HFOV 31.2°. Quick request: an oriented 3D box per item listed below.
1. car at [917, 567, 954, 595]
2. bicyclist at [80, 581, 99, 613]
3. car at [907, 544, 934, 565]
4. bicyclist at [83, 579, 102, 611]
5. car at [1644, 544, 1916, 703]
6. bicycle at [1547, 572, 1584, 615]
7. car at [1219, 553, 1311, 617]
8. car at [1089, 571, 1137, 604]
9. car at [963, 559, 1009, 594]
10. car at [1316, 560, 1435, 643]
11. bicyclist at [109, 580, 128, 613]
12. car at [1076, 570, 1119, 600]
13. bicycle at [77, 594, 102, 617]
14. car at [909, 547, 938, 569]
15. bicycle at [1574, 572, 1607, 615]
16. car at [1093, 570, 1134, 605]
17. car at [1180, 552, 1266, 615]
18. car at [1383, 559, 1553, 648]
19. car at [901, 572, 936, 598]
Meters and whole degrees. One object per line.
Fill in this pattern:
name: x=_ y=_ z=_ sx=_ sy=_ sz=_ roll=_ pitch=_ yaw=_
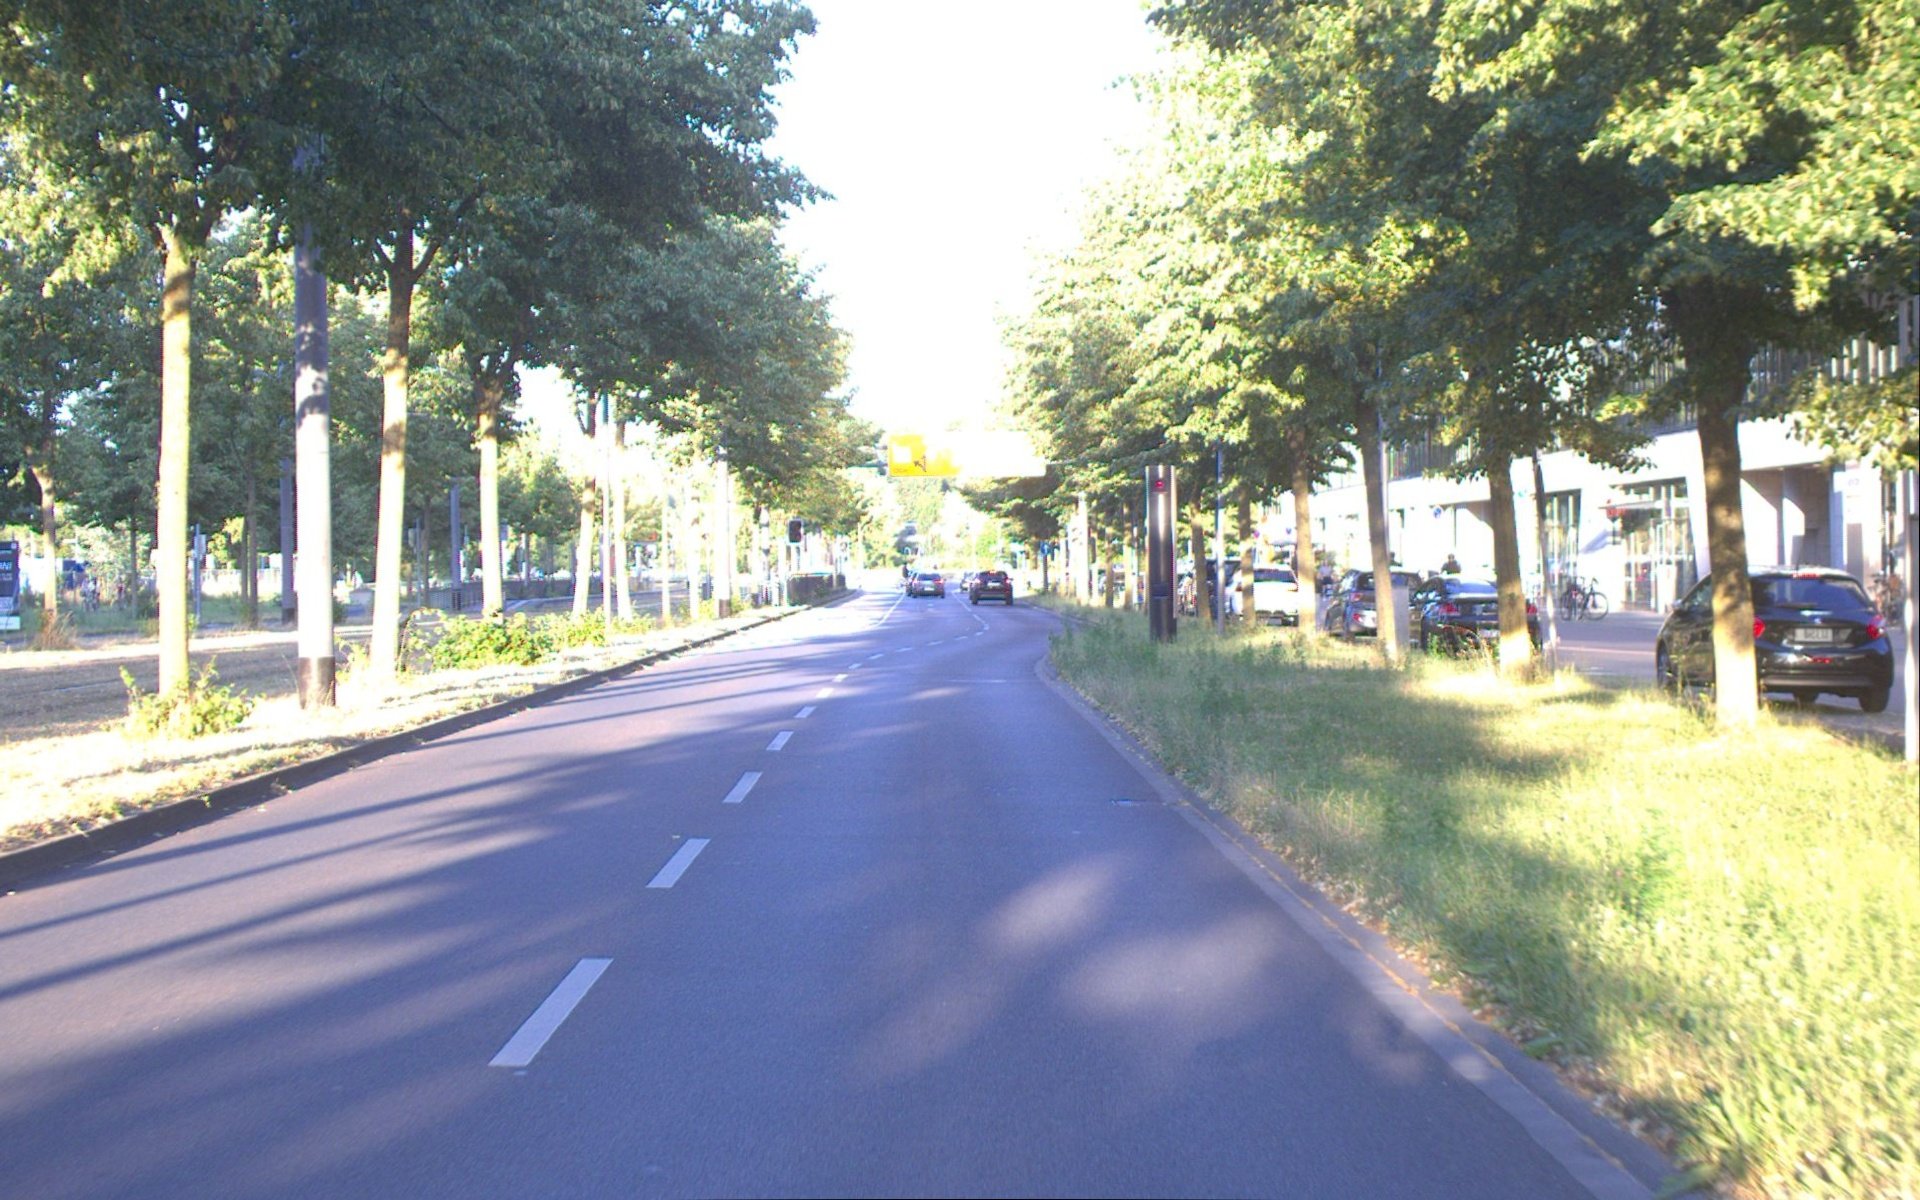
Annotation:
car: x=-1.354 y=-1.043 z=186.047 sx=1.911 sy=1.481 sz=4.000 roll=-1 pitch=0 yaw=-1
bicyclist: x=-38.662 y=-0.136 z=152.744 sx=0.619 sy=1.451 sz=0.937 roll=-1 pitch=0 yaw=-2
car: x=-2.886 y=-3.332 z=251.548 sx=1.911 sy=1.481 sz=4.000 roll=-1 pitch=0 yaw=-1
bicyclist: x=-37.930 y=-0.226 z=150.375 sx=0.619 sy=1.416 sz=0.937 roll=-1 pitch=0 yaw=-2
car: x=8.418 y=0.203 z=35.622 sx=1.780 sy=1.489 sz=4.000 roll=2 pitch=1 yaw=0
bicycle: x=14.830 y=-0.170 z=84.231 sx=0.594 sy=1.036 sz=1.892 roll=-1 pitch=0 yaw=0
car: x=8.030 y=-0.405 z=90.933 sx=1.993 sy=1.637 sz=4.878 roll=-1 pitch=0 yaw=0
car: x=6.925 y=-0.575 z=156.093 sx=1.777 sy=1.467 sz=4.289 roll=-1 pitch=0 yaw=-2
car: x=1.125 y=-1.044 z=152.503 sx=1.911 sy=1.481 sz=4.000 roll=0 pitch=0 yaw=-1
car: x=7.973 y=0.016 z=66.197 sx=1.709 sy=1.510 sz=3.759 roll=1 pitch=1 yaw=-1
bicyclist: x=-37.447 y=-0.157 z=152.971 sx=0.619 sy=1.451 sz=0.937 roll=-1 pitch=0 yaw=-2
car: x=6.857 y=-0.744 z=171.210 sx=1.756 sy=1.461 sz=4.159 roll=-1 pitch=0 yaw=-3
bicycle: x=-38.642 y=0.252 z=152.616 sx=0.619 sy=1.008 sz=2.083 roll=-1 pitch=0 yaw=-2
car: x=-2.521 y=-2.921 z=237.164 sx=1.911 sy=1.481 sz=4.000 roll=-1 pitch=0 yaw=-1
bicycle: x=15.398 y=-0.159 z=83.959 sx=0.470 sy=1.036 sz=1.807 roll=-1 pitch=0 yaw=0
car: x=6.653 y=-0.558 z=149.243 sx=1.575 sy=1.467 sz=3.881 roll=-1 pitch=0 yaw=0
car: x=7.903 y=-0.502 z=103.647 sx=1.993 sy=1.845 sz=4.666 roll=-1 pitch=0 yaw=-2
car: x=8.270 y=0.025 z=56.371 sx=1.852 sy=1.362 sz=4.835 roll=-1 pitch=1 yaw=-2
car: x=-2.400 y=-0.877 z=197.913 sx=1.911 sy=1.481 sz=4.000 roll=-1 pitch=0 yaw=-1
